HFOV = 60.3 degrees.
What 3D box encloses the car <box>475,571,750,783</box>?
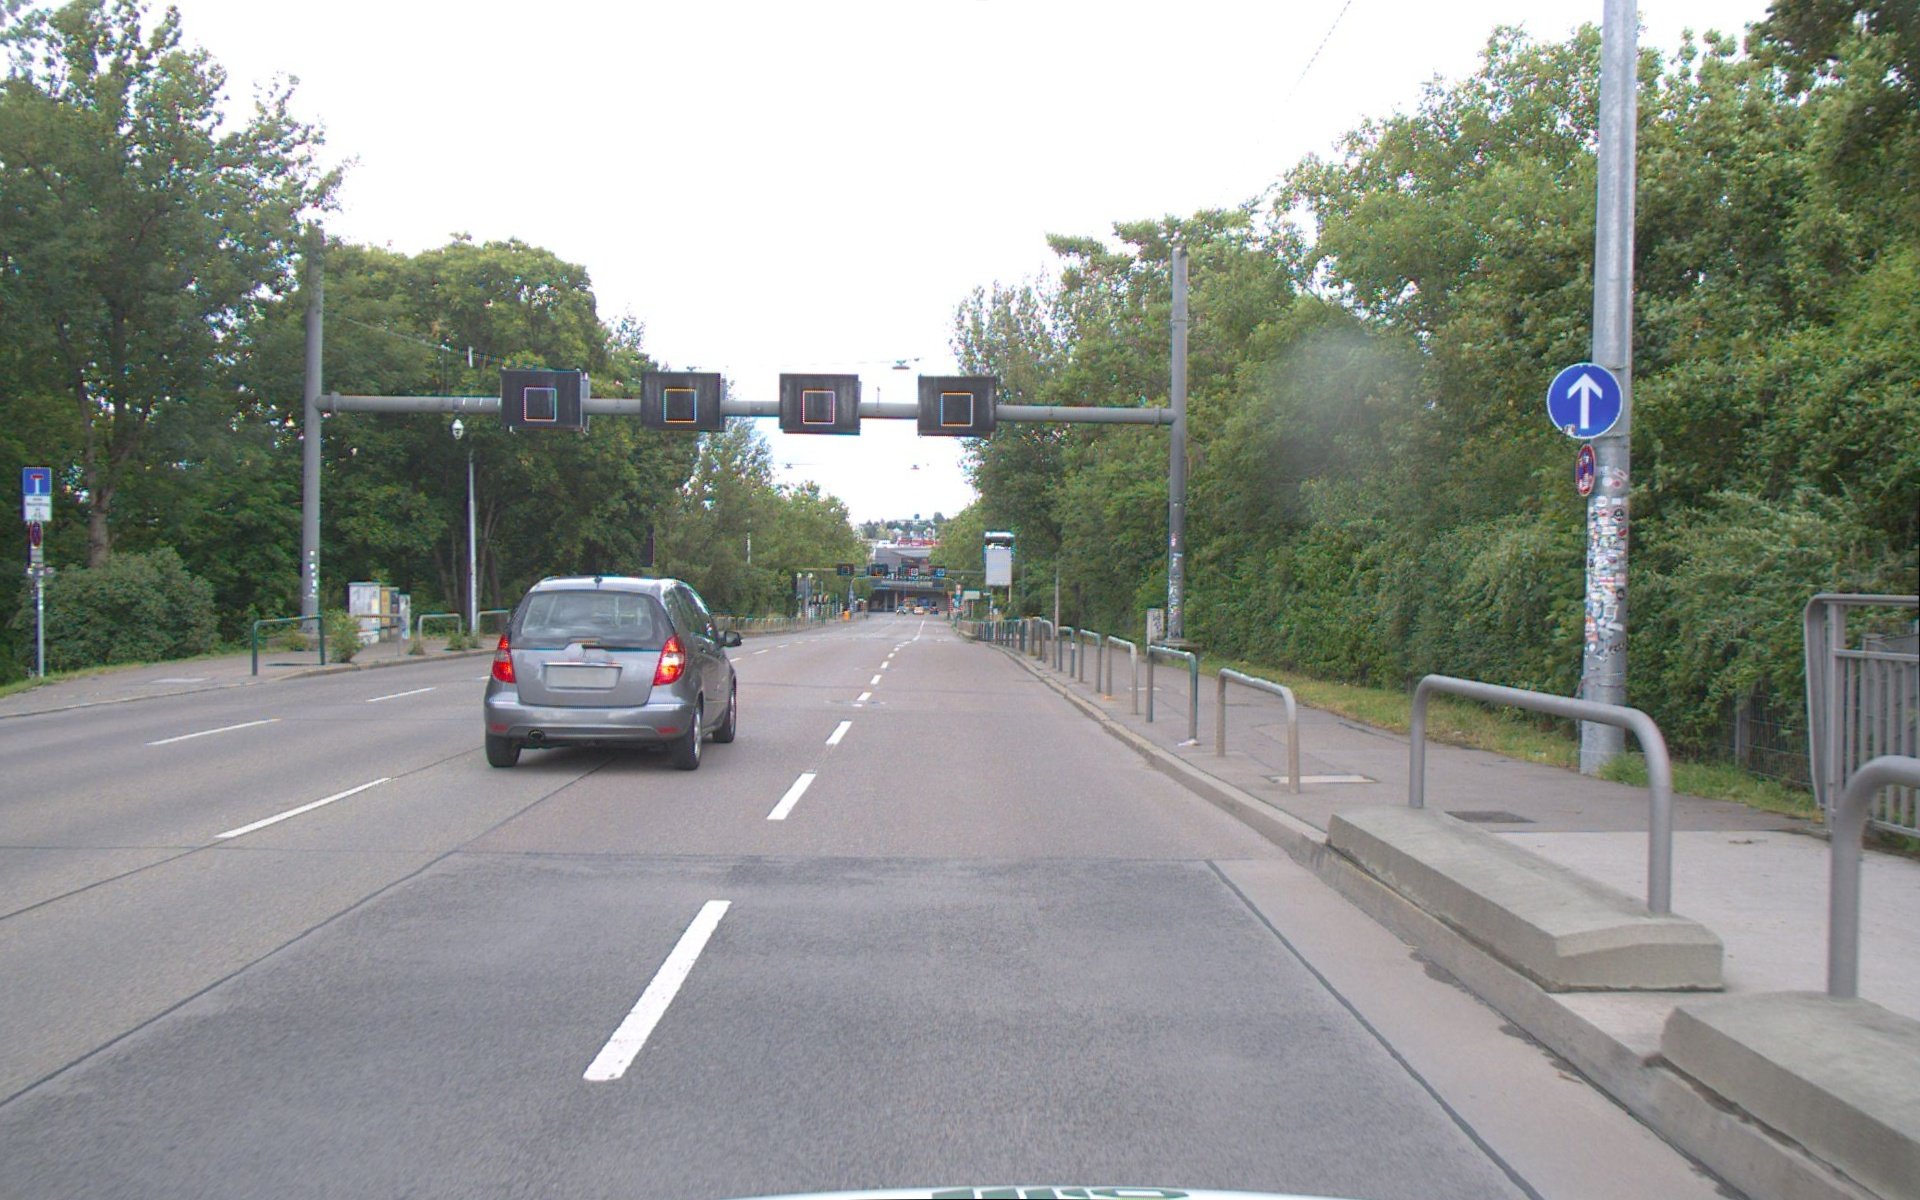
[{"bbox_3d":[-2.969,0.576,14.901,1.710,1.577,3.870,2,1,-2],"label":"car"}]
